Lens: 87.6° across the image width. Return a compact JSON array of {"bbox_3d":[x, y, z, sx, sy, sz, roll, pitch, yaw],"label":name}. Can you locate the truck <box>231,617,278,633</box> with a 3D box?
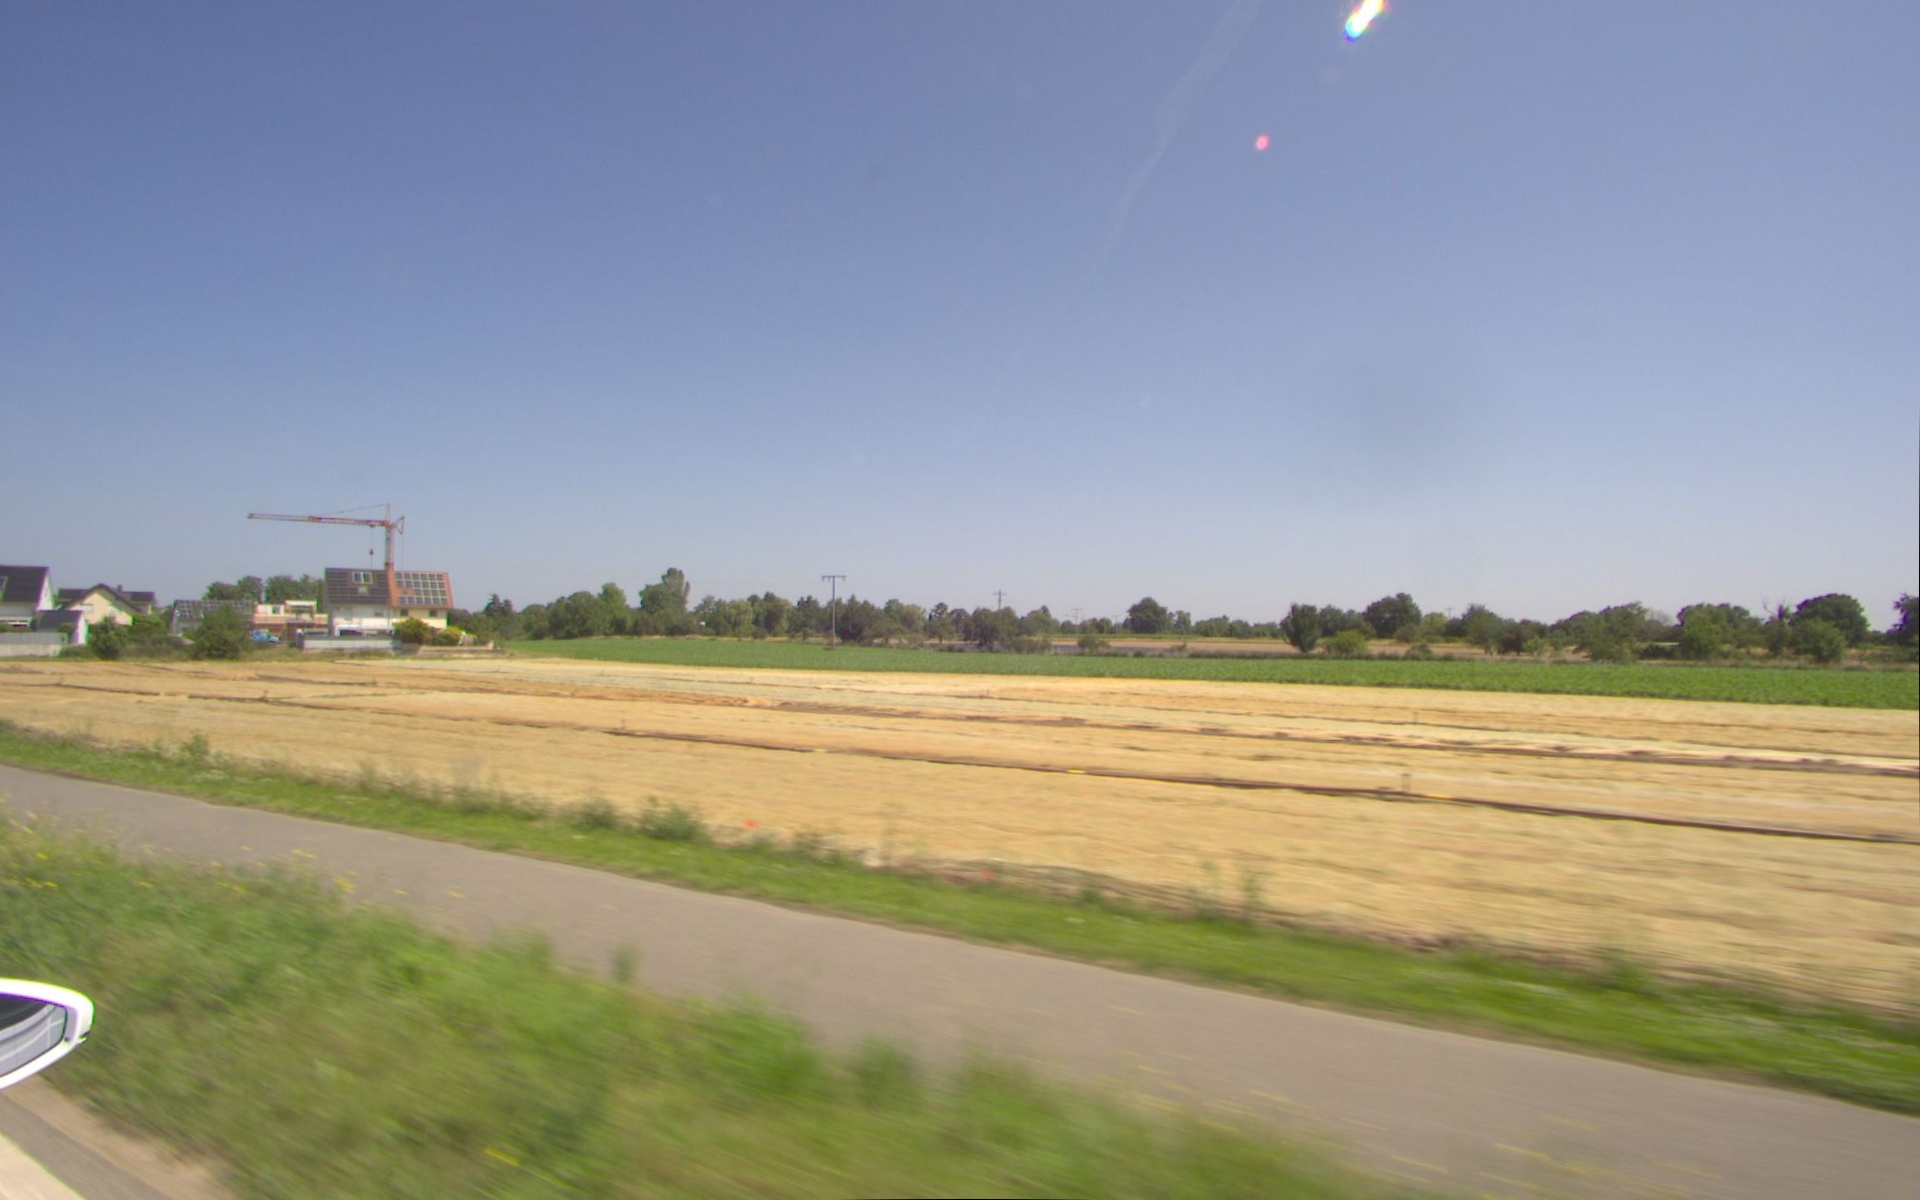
[{"bbox_3d":[-101.251,3.544,143.762,5.503,2.258,2.200,1,-2,-36],"label":"truck"}]
